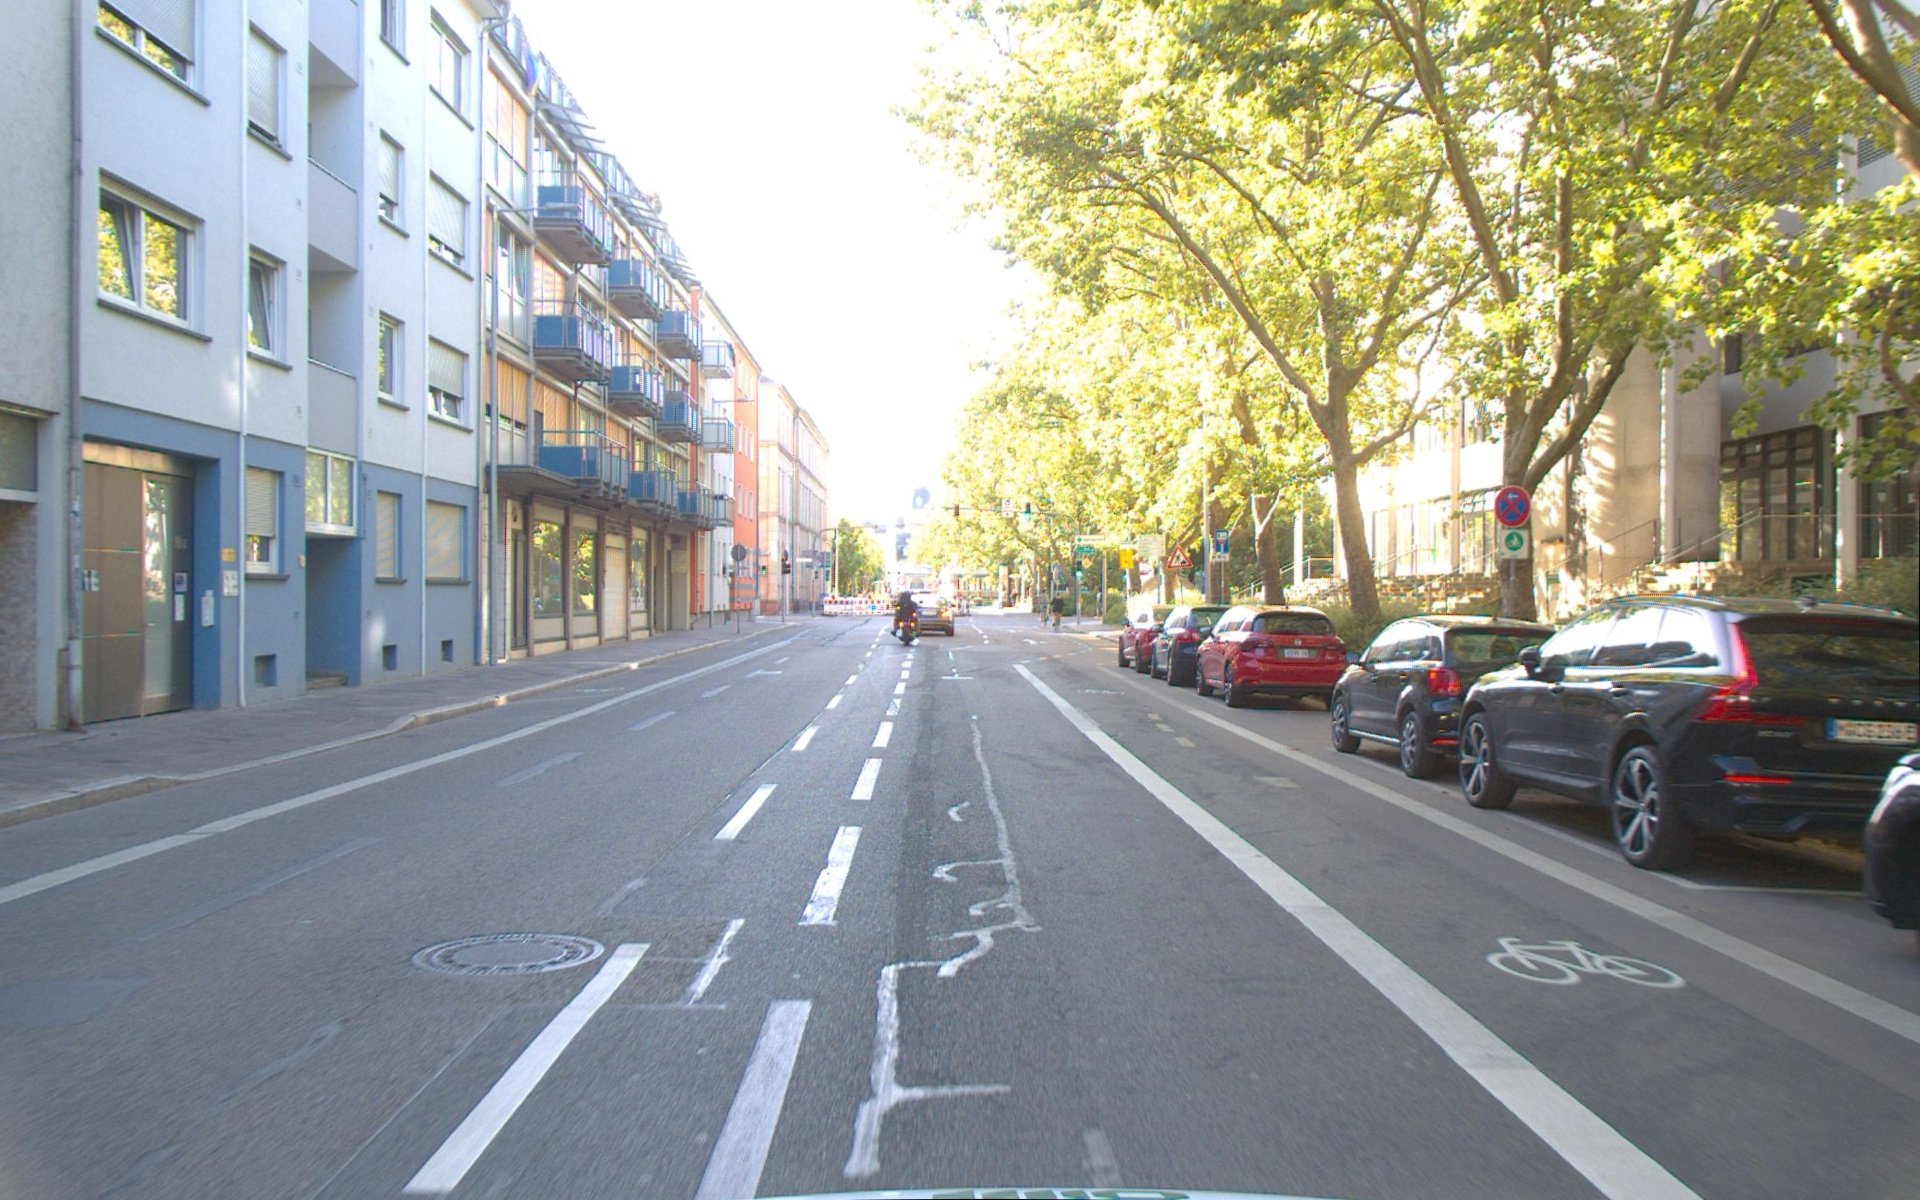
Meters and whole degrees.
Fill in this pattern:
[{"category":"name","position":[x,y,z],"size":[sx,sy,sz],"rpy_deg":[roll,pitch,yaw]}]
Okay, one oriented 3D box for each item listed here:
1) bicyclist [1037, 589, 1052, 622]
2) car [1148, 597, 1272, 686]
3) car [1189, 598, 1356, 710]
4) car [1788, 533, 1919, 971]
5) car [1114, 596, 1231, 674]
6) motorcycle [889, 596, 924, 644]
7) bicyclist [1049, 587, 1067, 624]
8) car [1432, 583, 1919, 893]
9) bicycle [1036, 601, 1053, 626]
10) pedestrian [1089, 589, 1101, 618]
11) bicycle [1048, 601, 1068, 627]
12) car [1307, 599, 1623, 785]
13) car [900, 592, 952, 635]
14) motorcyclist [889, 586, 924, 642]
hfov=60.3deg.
[{"category":"bicyclist","position":[4.017,0.265,78.693],"size":[0.643,1.557,0.906],"rpy_deg":[2,0,-2]},{"category":"car","position":[4.612,0.721,31.018],"size":[1.658,1.492,4.065],"rpy_deg":[2,0,0]},{"category":"car","position":[4.767,0.771,25.784],"size":[1.658,1.505,4.317],"rpy_deg":[2,0,-1]},{"category":"car","position":[5.256,0.700,5.640],"size":[1.791,1.873,4.889],"rpy_deg":[2,0,-9]},{"category":"car","position":[4.467,0.700,35.424],"size":[1.659,1.474,4.433],"rpy_deg":[2,0,-3]},{"category":"motorcycle","position":[-1.553,0.559,48.062],"size":[0.992,1.329,2.672],"rpy_deg":[0,0,-2]},{"category":"bicyclist","position":[4.157,0.232,70.029],"size":[0.643,1.557,0.851],"rpy_deg":[2,0,-2]},{"category":"car","position":[4.894,0.755,11.390],"size":[1.740,1.656,4.618],"rpy_deg":[2,0,-3]},{"category":"bicycle","position":[4.011,0.626,78.656],"size":[0.643,1.131,2.185],"rpy_deg":[2,0,-2]},{"category":"pedestrian","position":[8.538,0.236,104.616],"size":[0.610,1.805,0.572],"rpy_deg":[1,-1,20]},{"category":"bicycle","position":[4.150,0.581,70.049],"size":[0.643,1.089,1.926],"rpy_deg":[2,0,-2]},{"category":"car","position":[4.799,0.797,16.324],"size":[1.659,1.529,4.018],"rpy_deg":[2,0,-3]},{"category":"car","position":[-1.227,0.465,59.109],"size":[1.791,1.445,3.813],"rpy_deg":[1,0,-2]},{"category":"motorcyclist","position":[-1.558,0.400,48.157],"size":[0.992,1.630,1.405],"rpy_deg":[0,0,-2]}]
